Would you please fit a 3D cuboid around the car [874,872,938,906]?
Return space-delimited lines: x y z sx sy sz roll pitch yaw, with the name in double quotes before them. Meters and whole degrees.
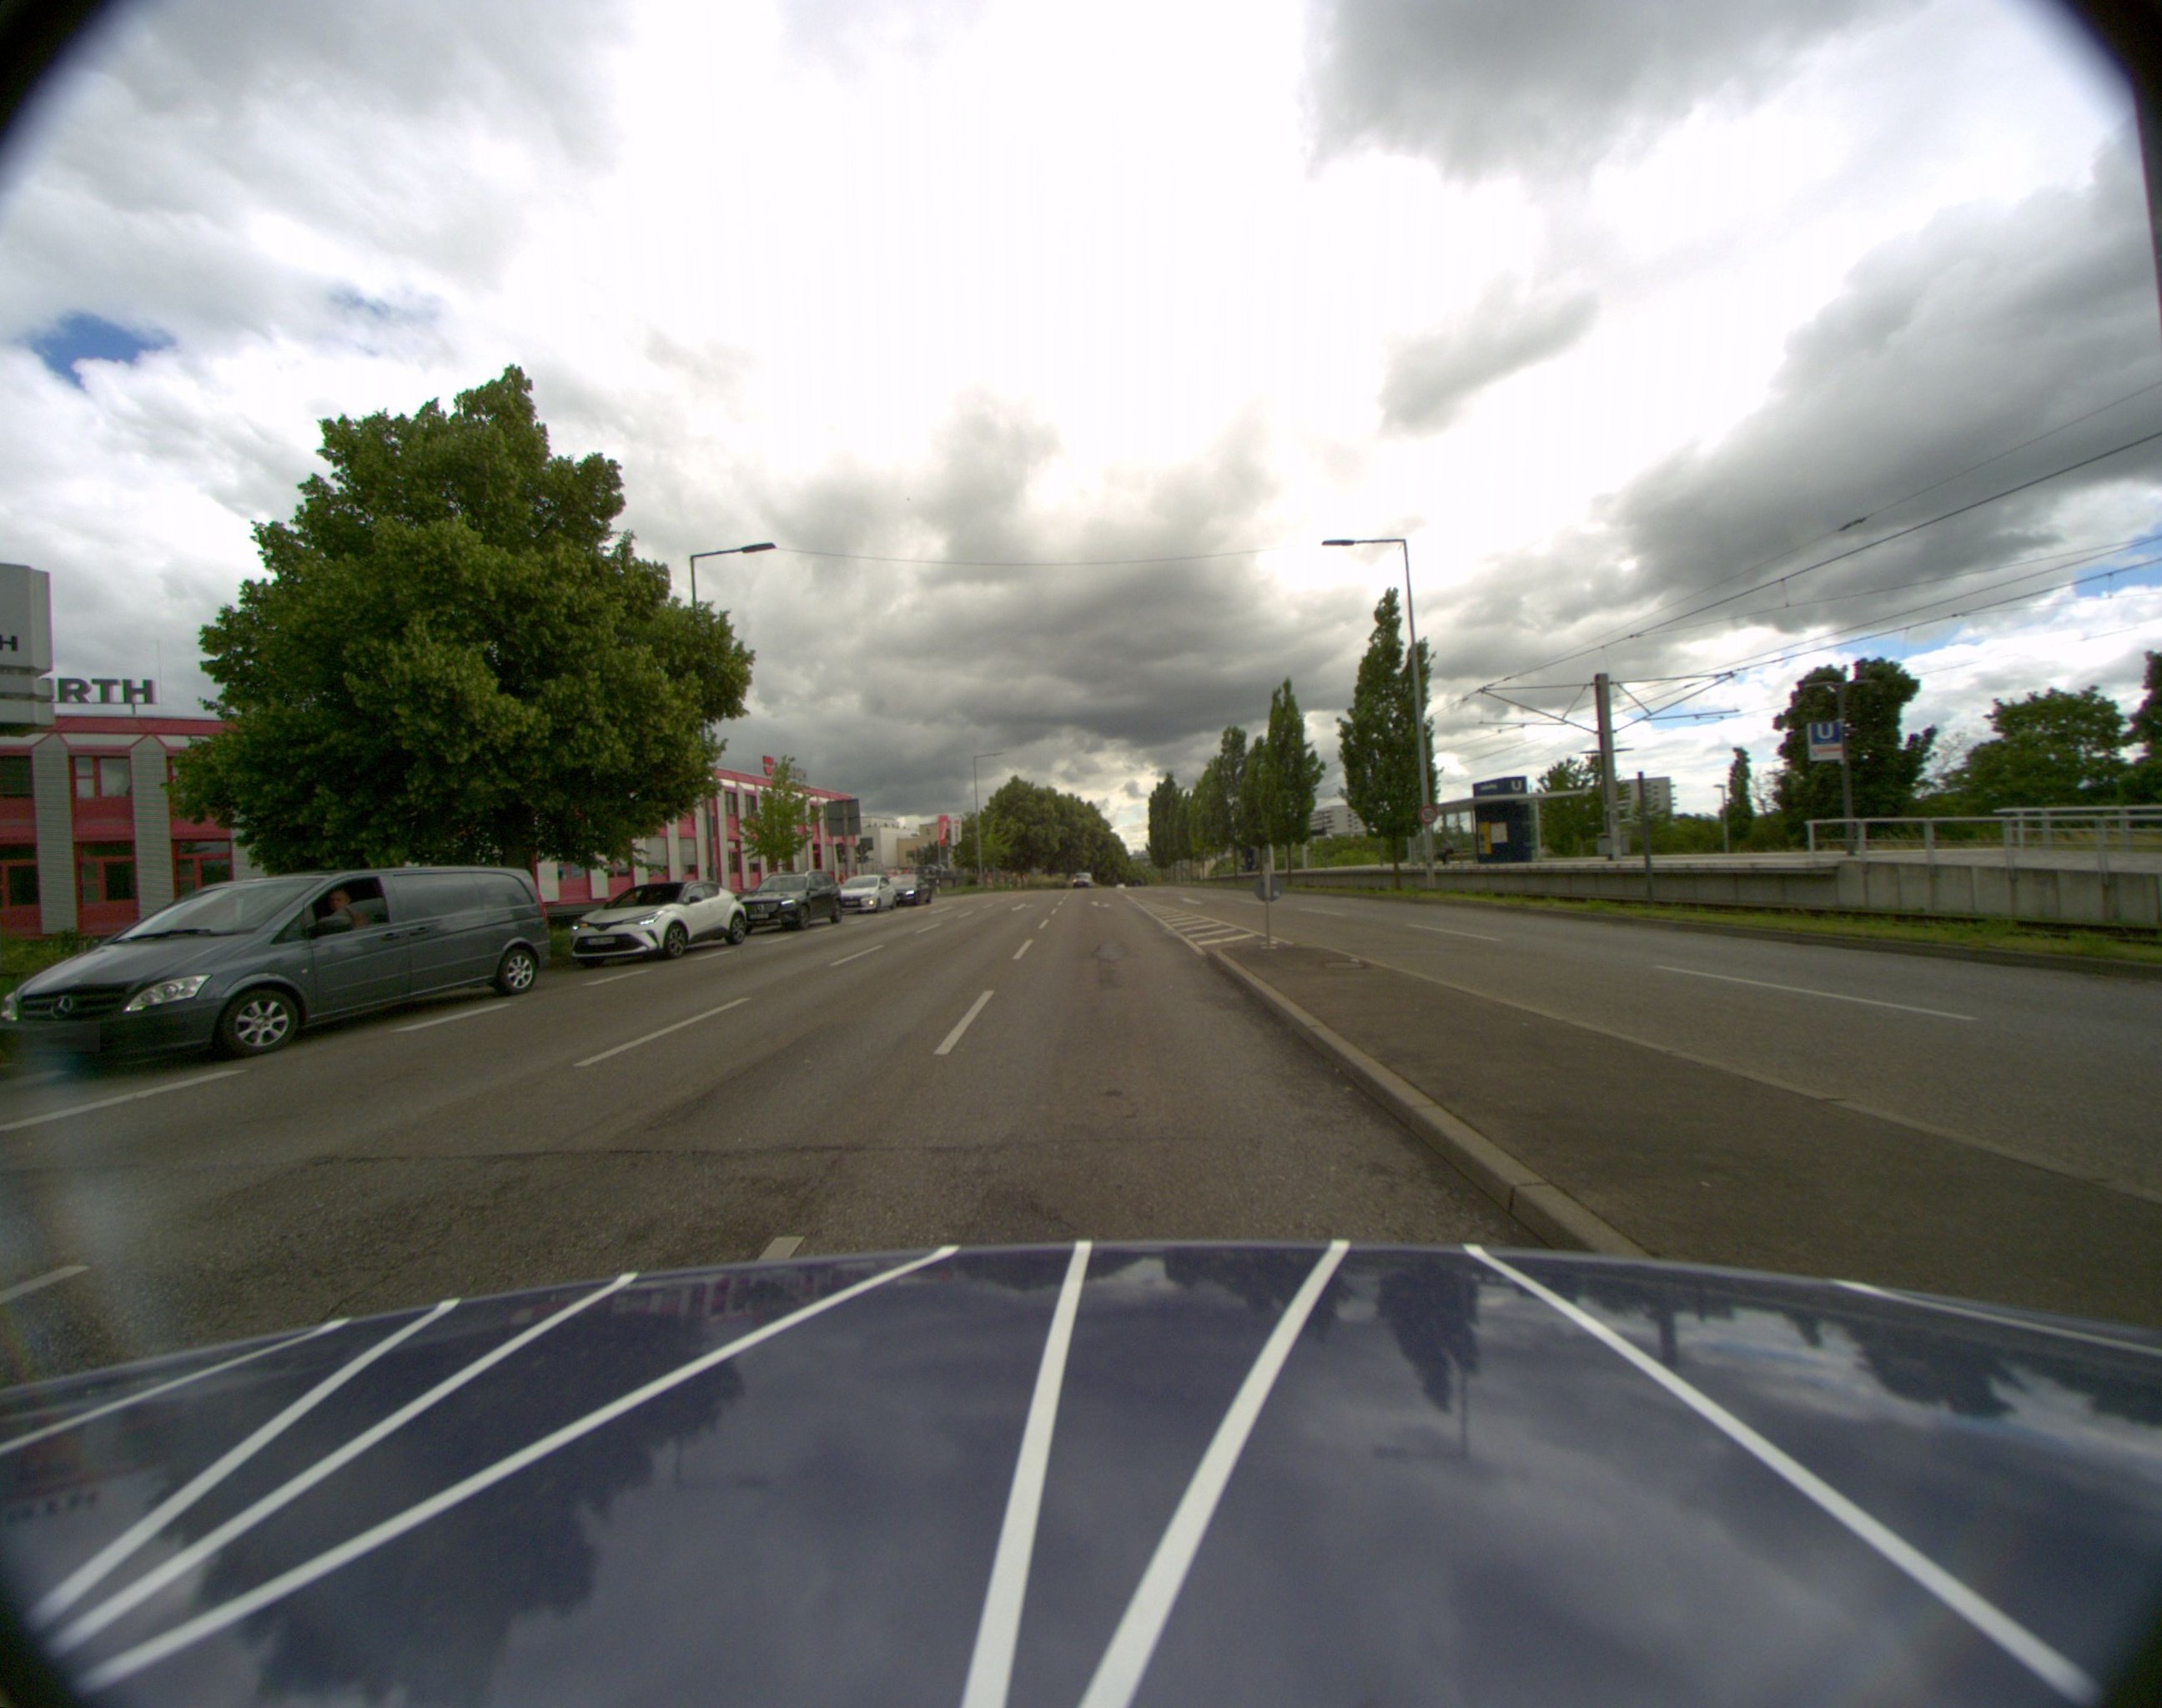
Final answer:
"car" -8.016 1.590 35.202 1.785 1.437 4.530 -1 -2 1

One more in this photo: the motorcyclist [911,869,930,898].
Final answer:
"motorcyclist" -8.344 1.533 39.555 0.750 1.481 0.933 -4 -1 -3

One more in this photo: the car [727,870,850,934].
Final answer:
"car" -8.370 1.325 22.209 1.785 1.639 4.427 -1 -2 1

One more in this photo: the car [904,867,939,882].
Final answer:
"car" -21.210 2.687 101.002 4.248 1.744 1.784 -2 0 2

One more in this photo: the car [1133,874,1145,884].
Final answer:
"car" 9.745 4.215 127.250 1.869 1.674 4.843 -2 -3 5

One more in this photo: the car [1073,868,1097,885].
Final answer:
"car" 0.473 2.544 87.800 1.998 1.791 4.842 -2 0 8

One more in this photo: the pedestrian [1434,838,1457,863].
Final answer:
"pedestrian" 17.625 -0.174 36.728 0.663 1.195 0.782 -2 0 -7

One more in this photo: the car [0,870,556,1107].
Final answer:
"car" -8.853 1.227 8.845 1.920 1.823 4.722 -5 0 2

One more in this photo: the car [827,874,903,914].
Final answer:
"car" -8.468 1.554 30.102 1.785 1.434 3.836 -1 -2 1

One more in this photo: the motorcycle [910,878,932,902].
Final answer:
"motorcycle" -8.318 1.861 39.508 0.750 1.140 1.943 -4 -1 -3

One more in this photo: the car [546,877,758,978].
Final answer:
"car" -8.558 1.379 15.688 1.785 1.526 4.305 -5 0 0
